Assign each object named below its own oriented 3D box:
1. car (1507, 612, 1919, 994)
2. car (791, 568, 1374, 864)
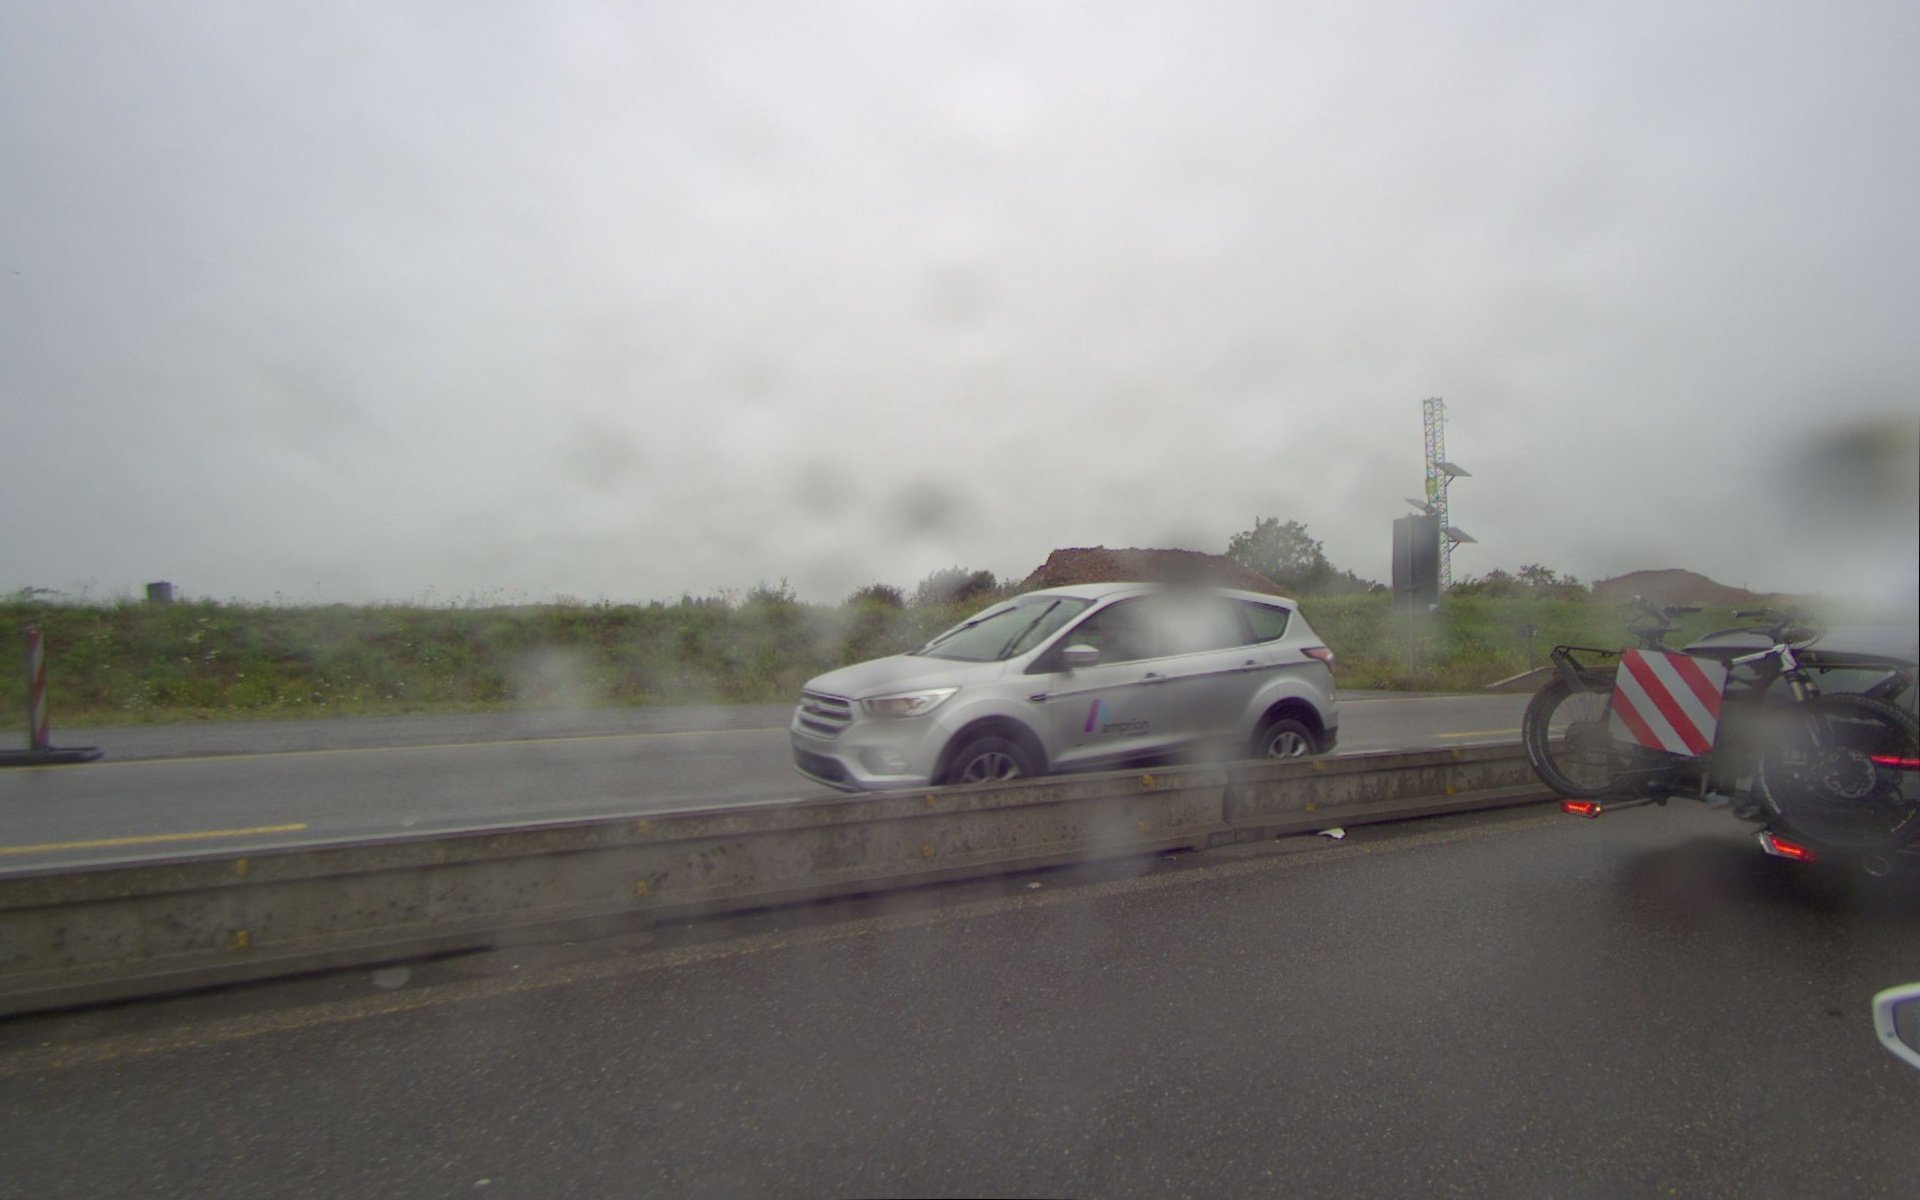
[{"bbox_3d":[5.946,0.874,6.288,5.560,1.482,1.727,0,1,-29],"label":"car"},{"bbox_3d":[1.029,0.709,7.758,4.237,1.747,1.782,1,1,-30],"label":"car"}]
